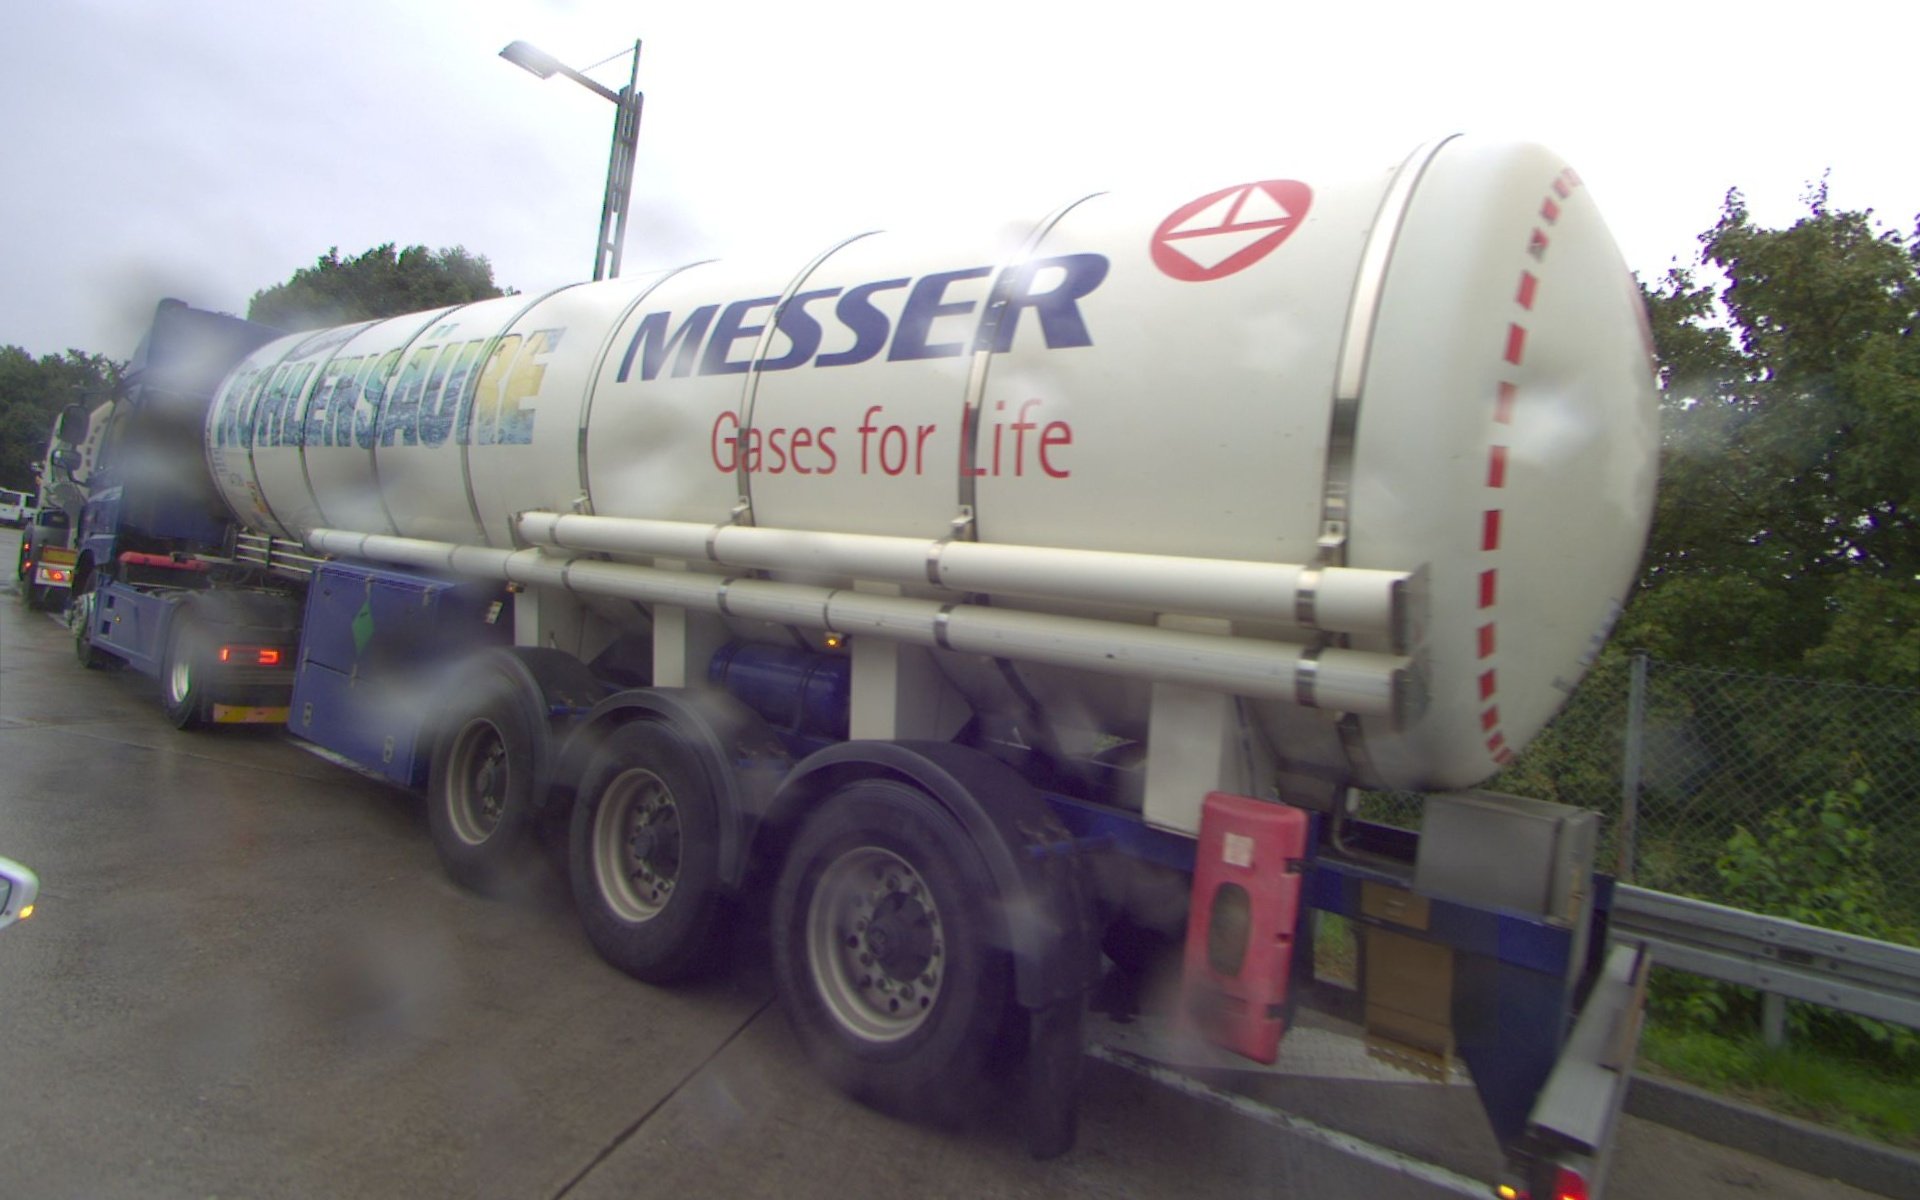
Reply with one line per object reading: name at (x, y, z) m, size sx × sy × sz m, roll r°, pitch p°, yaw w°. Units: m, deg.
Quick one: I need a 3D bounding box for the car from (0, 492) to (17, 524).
car at (-55.060, -5.372, 56.040) m, size 2.092 × 1.747 × 3.983 m, roll 9°, pitch -2°, yaw -20°

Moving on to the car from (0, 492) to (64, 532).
car at (-52.295, -4.952, 56.040) m, size 2.092 × 1.747 × 3.983 m, roll 9°, pitch -2°, yaw -20°

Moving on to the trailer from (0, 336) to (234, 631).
trailer at (-14.431, -1.760, 17.052) m, size 2.125 × 3.480 × 10.134 m, roll 9°, pitch -2°, yaw -41°

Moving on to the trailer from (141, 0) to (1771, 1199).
trailer at (-1.964, -0.323, 5.881) m, size 10.169 × 3.260 × 1.981 m, roll 6°, pitch -3°, yaw 39°

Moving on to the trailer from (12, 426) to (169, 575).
trailer at (-24.693, -2.702, 28.893) m, size 2.171 × 3.431 × 7.495 m, roll 9°, pitch -2°, yaw -34°

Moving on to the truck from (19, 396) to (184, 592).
truck at (-18.761, -2.214, 22.035) m, size 2.139 × 3.553 × 4.593 m, roll 9°, pitch -2°, yaw -41°

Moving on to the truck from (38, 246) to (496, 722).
truck at (-6.936, -0.979, 9.865) m, size 4.676 × 3.570 × 2.054 m, roll 6°, pitch -2°, yaw 39°
